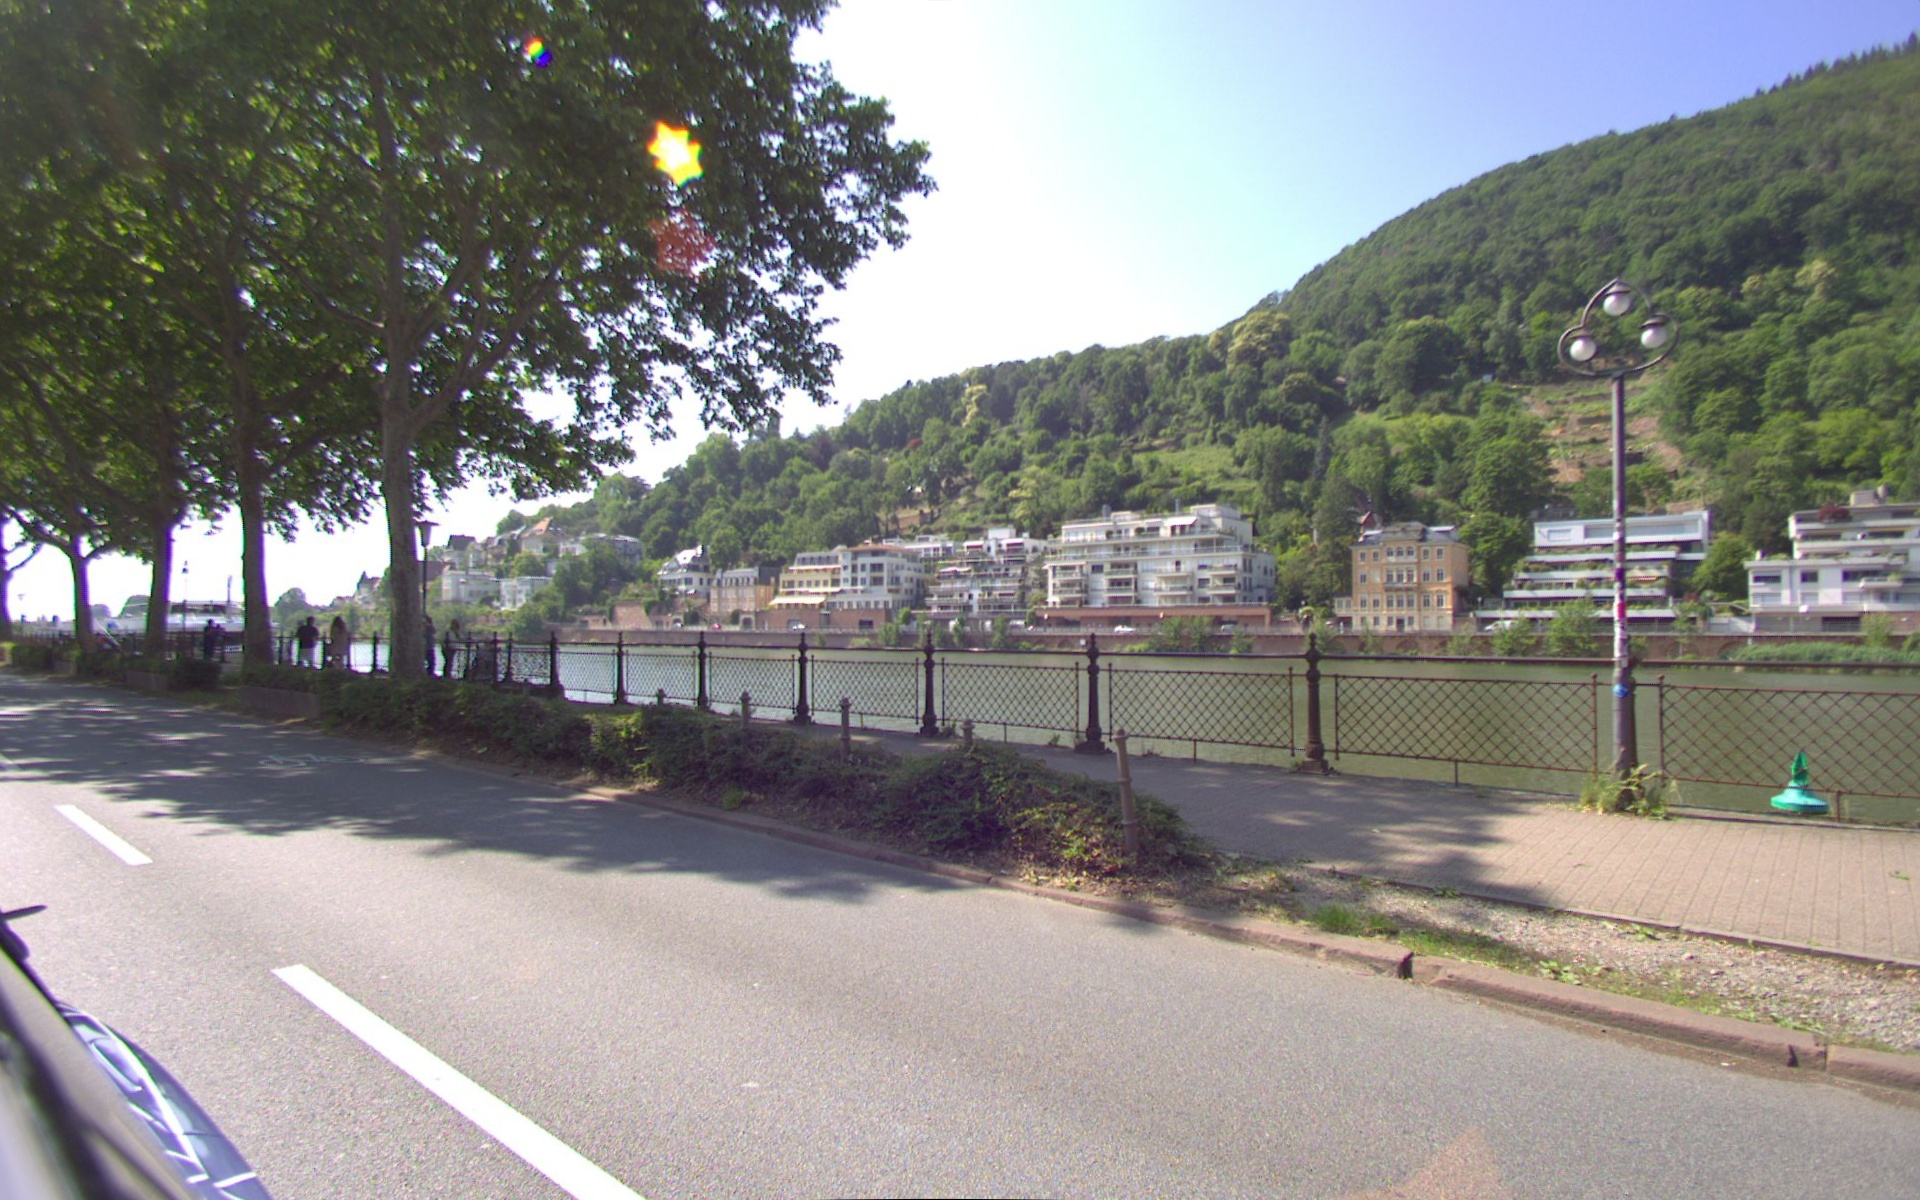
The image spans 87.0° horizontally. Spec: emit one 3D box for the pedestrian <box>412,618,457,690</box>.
[{"bbox_3d":[-12.981,1.320,24.982,0.873,1.730,0.686,-1,0,40],"label":"pedestrian"}]

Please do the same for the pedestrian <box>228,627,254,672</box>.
[{"bbox_3d":[-28.923,1.978,40.692,0.705,1.811,0.696,-2,-2,43],"label":"pedestrian"}]

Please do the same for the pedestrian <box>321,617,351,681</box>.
[{"bbox_3d":[-17.544,1.376,28.434,0.592,1.782,0.511,-2,-4,42],"label":"pedestrian"}]

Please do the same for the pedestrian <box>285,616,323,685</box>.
[{"bbox_3d":[-18.279,1.396,28.193,0.805,1.884,0.634,-2,-4,42],"label":"pedestrian"}]

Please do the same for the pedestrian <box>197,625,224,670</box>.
[{"bbox_3d":[-29.466,1.851,39.803,0.705,1.744,0.696,-2,-2,43],"label":"pedestrian"}]

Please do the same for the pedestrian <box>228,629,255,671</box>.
[{"bbox_3d":[-27.921,1.921,39.311,0.705,1.615,0.696,-2,-2,43],"label":"pedestrian"}]
